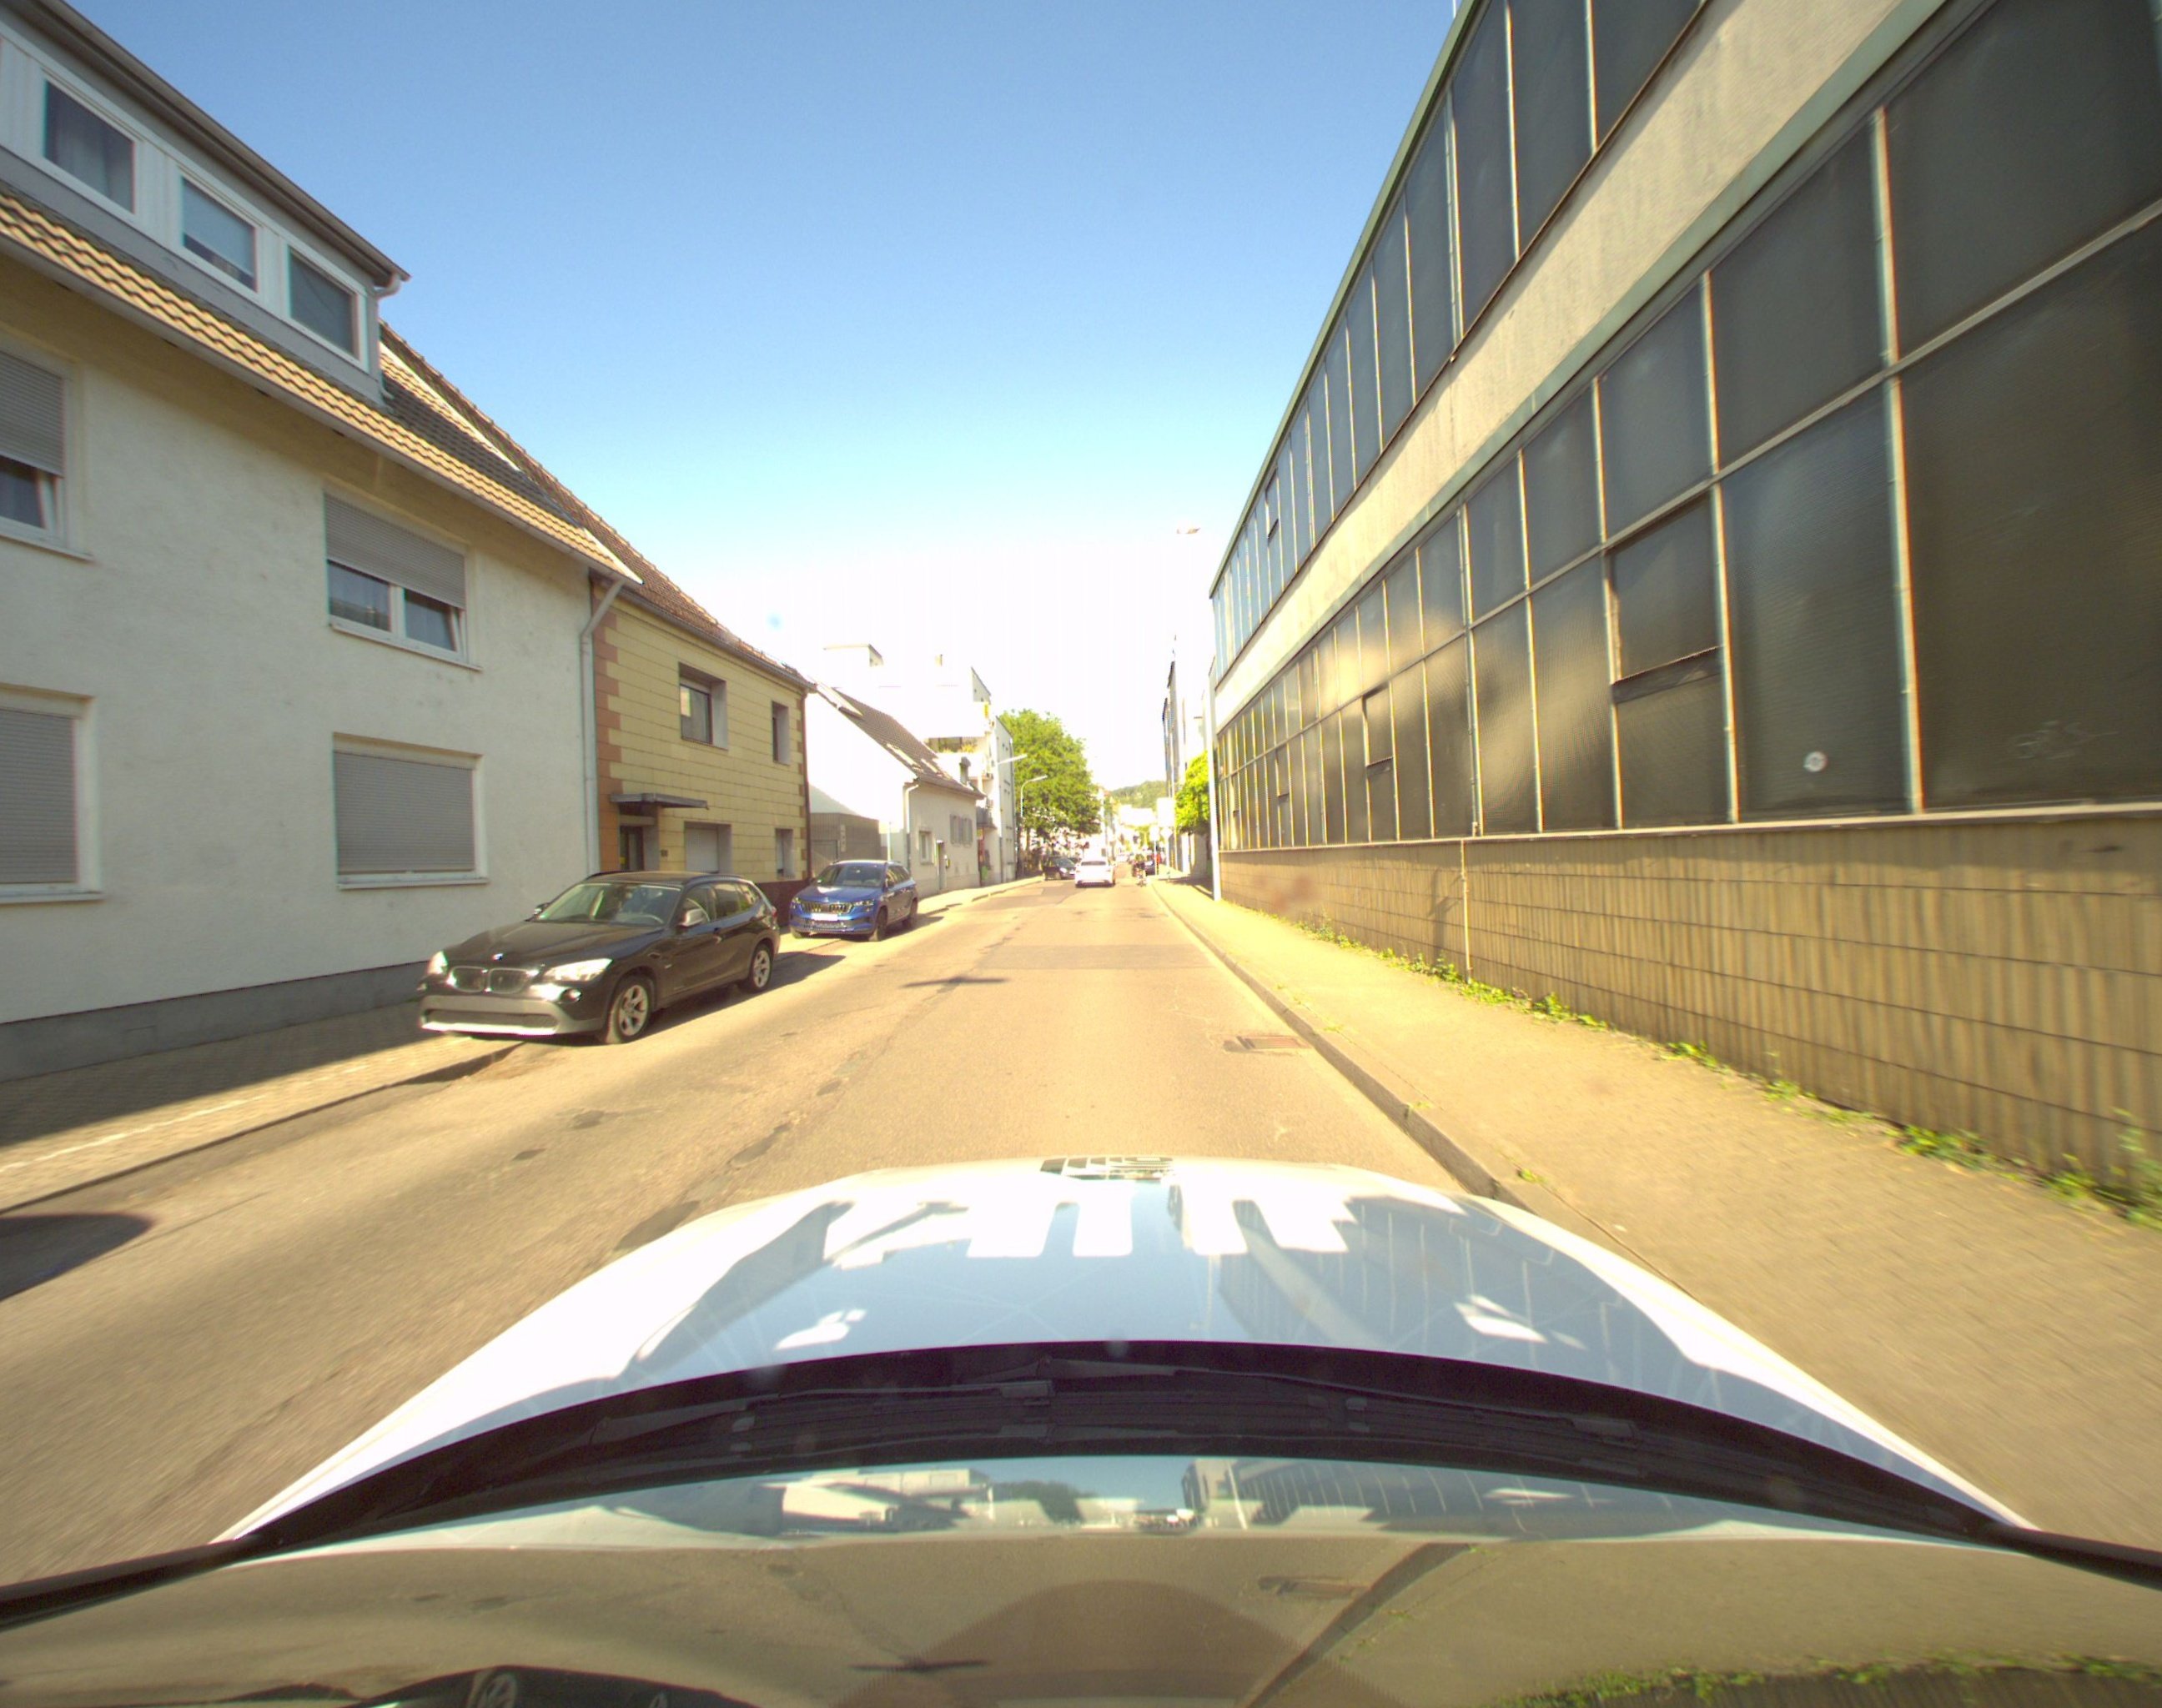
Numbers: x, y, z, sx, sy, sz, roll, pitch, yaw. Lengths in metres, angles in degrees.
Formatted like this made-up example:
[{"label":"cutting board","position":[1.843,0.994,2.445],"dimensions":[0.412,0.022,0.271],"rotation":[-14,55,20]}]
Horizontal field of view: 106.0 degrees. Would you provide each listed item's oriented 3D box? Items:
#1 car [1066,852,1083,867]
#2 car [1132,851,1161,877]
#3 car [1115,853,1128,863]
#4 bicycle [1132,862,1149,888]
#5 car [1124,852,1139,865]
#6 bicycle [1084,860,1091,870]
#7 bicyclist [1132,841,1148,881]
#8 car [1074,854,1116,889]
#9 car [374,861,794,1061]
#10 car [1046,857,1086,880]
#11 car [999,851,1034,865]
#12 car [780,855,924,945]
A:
[{"label":"car","position":[-0.715,0.647,91.473],"dimensions":[1.698,1.575,3.916],"rotation":[-2,0,2]},{"label":"car","position":[4.422,0.665,55.361],"dimensions":[1.623,1.587,4.071],"rotation":[-6,-1,2]},{"label":"car","position":[7.259,0.740,146.762],"dimensions":[1.936,1.587,4.629],"rotation":[-6,-1,6]},{"label":"bicycle","position":[2.733,0.925,37.426],"dimensions":[0.695,1.130,2.405],"rotation":[-2,-1,3]},{"label":"car","position":[7.427,0.632,120.223],"dimensions":[1.847,1.791,4.607],"rotation":[-2,0,0]},{"label":"bicycle","position":[0.885,1.433,106.356],"dimensions":[0.832,1.217,2.843],"rotation":[-2,0,2]},{"label":"bicyclist","position":[2.719,0.311,37.572],"dimensions":[0.695,1.790,1.041],"rotation":[-2,-1,3]},{"label":"car","position":[0.669,0.809,38.829],"dimensions":[1.835,1.491,4.145],"rotation":[-2,-1,1]},{"label":"car","position":[-5.014,0.941,9.125],"dimensions":[1.850,1.587,4.339],"rotation":[-1,1,3]},{"label":"car","position":[-1.106,1.002,56.356],"dimensions":[1.845,1.491,4.124],"rotation":[-2,-1,-14]},{"label":"car","position":[-7.942,0.465,100.269],"dimensions":[3.880,1.575,1.713],"rotation":[-2,0,7]},{"label":"car","position":[-4.834,0.894,17.840],"dimensions":[1.802,1.587,4.195],"rotation":[-1,1,2]}]
